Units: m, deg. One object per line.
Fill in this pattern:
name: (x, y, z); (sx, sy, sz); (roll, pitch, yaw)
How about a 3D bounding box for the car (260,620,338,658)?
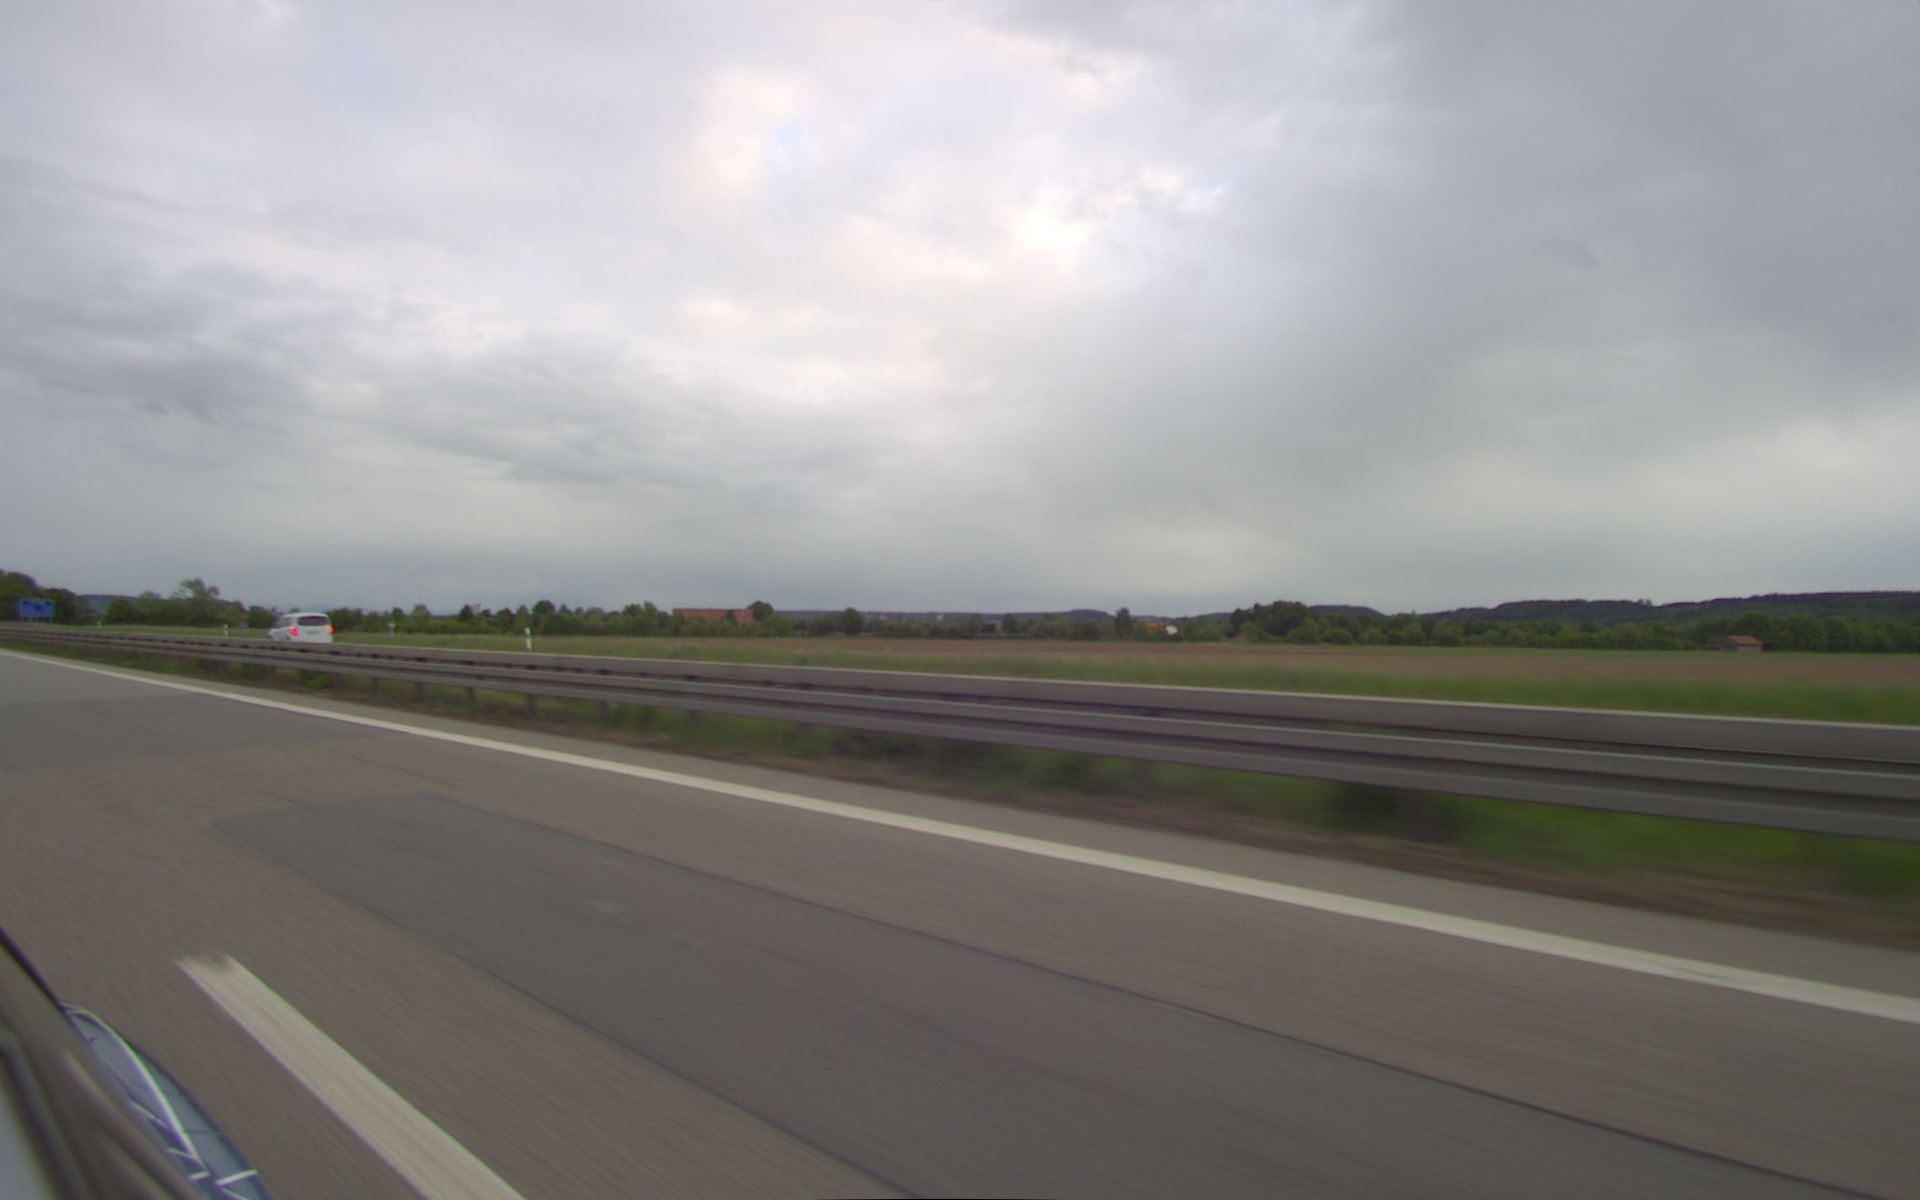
car: (-33.053, 1.908, 50.522); (4.949, 1.778, 1.973); (-1, -1, 41)
